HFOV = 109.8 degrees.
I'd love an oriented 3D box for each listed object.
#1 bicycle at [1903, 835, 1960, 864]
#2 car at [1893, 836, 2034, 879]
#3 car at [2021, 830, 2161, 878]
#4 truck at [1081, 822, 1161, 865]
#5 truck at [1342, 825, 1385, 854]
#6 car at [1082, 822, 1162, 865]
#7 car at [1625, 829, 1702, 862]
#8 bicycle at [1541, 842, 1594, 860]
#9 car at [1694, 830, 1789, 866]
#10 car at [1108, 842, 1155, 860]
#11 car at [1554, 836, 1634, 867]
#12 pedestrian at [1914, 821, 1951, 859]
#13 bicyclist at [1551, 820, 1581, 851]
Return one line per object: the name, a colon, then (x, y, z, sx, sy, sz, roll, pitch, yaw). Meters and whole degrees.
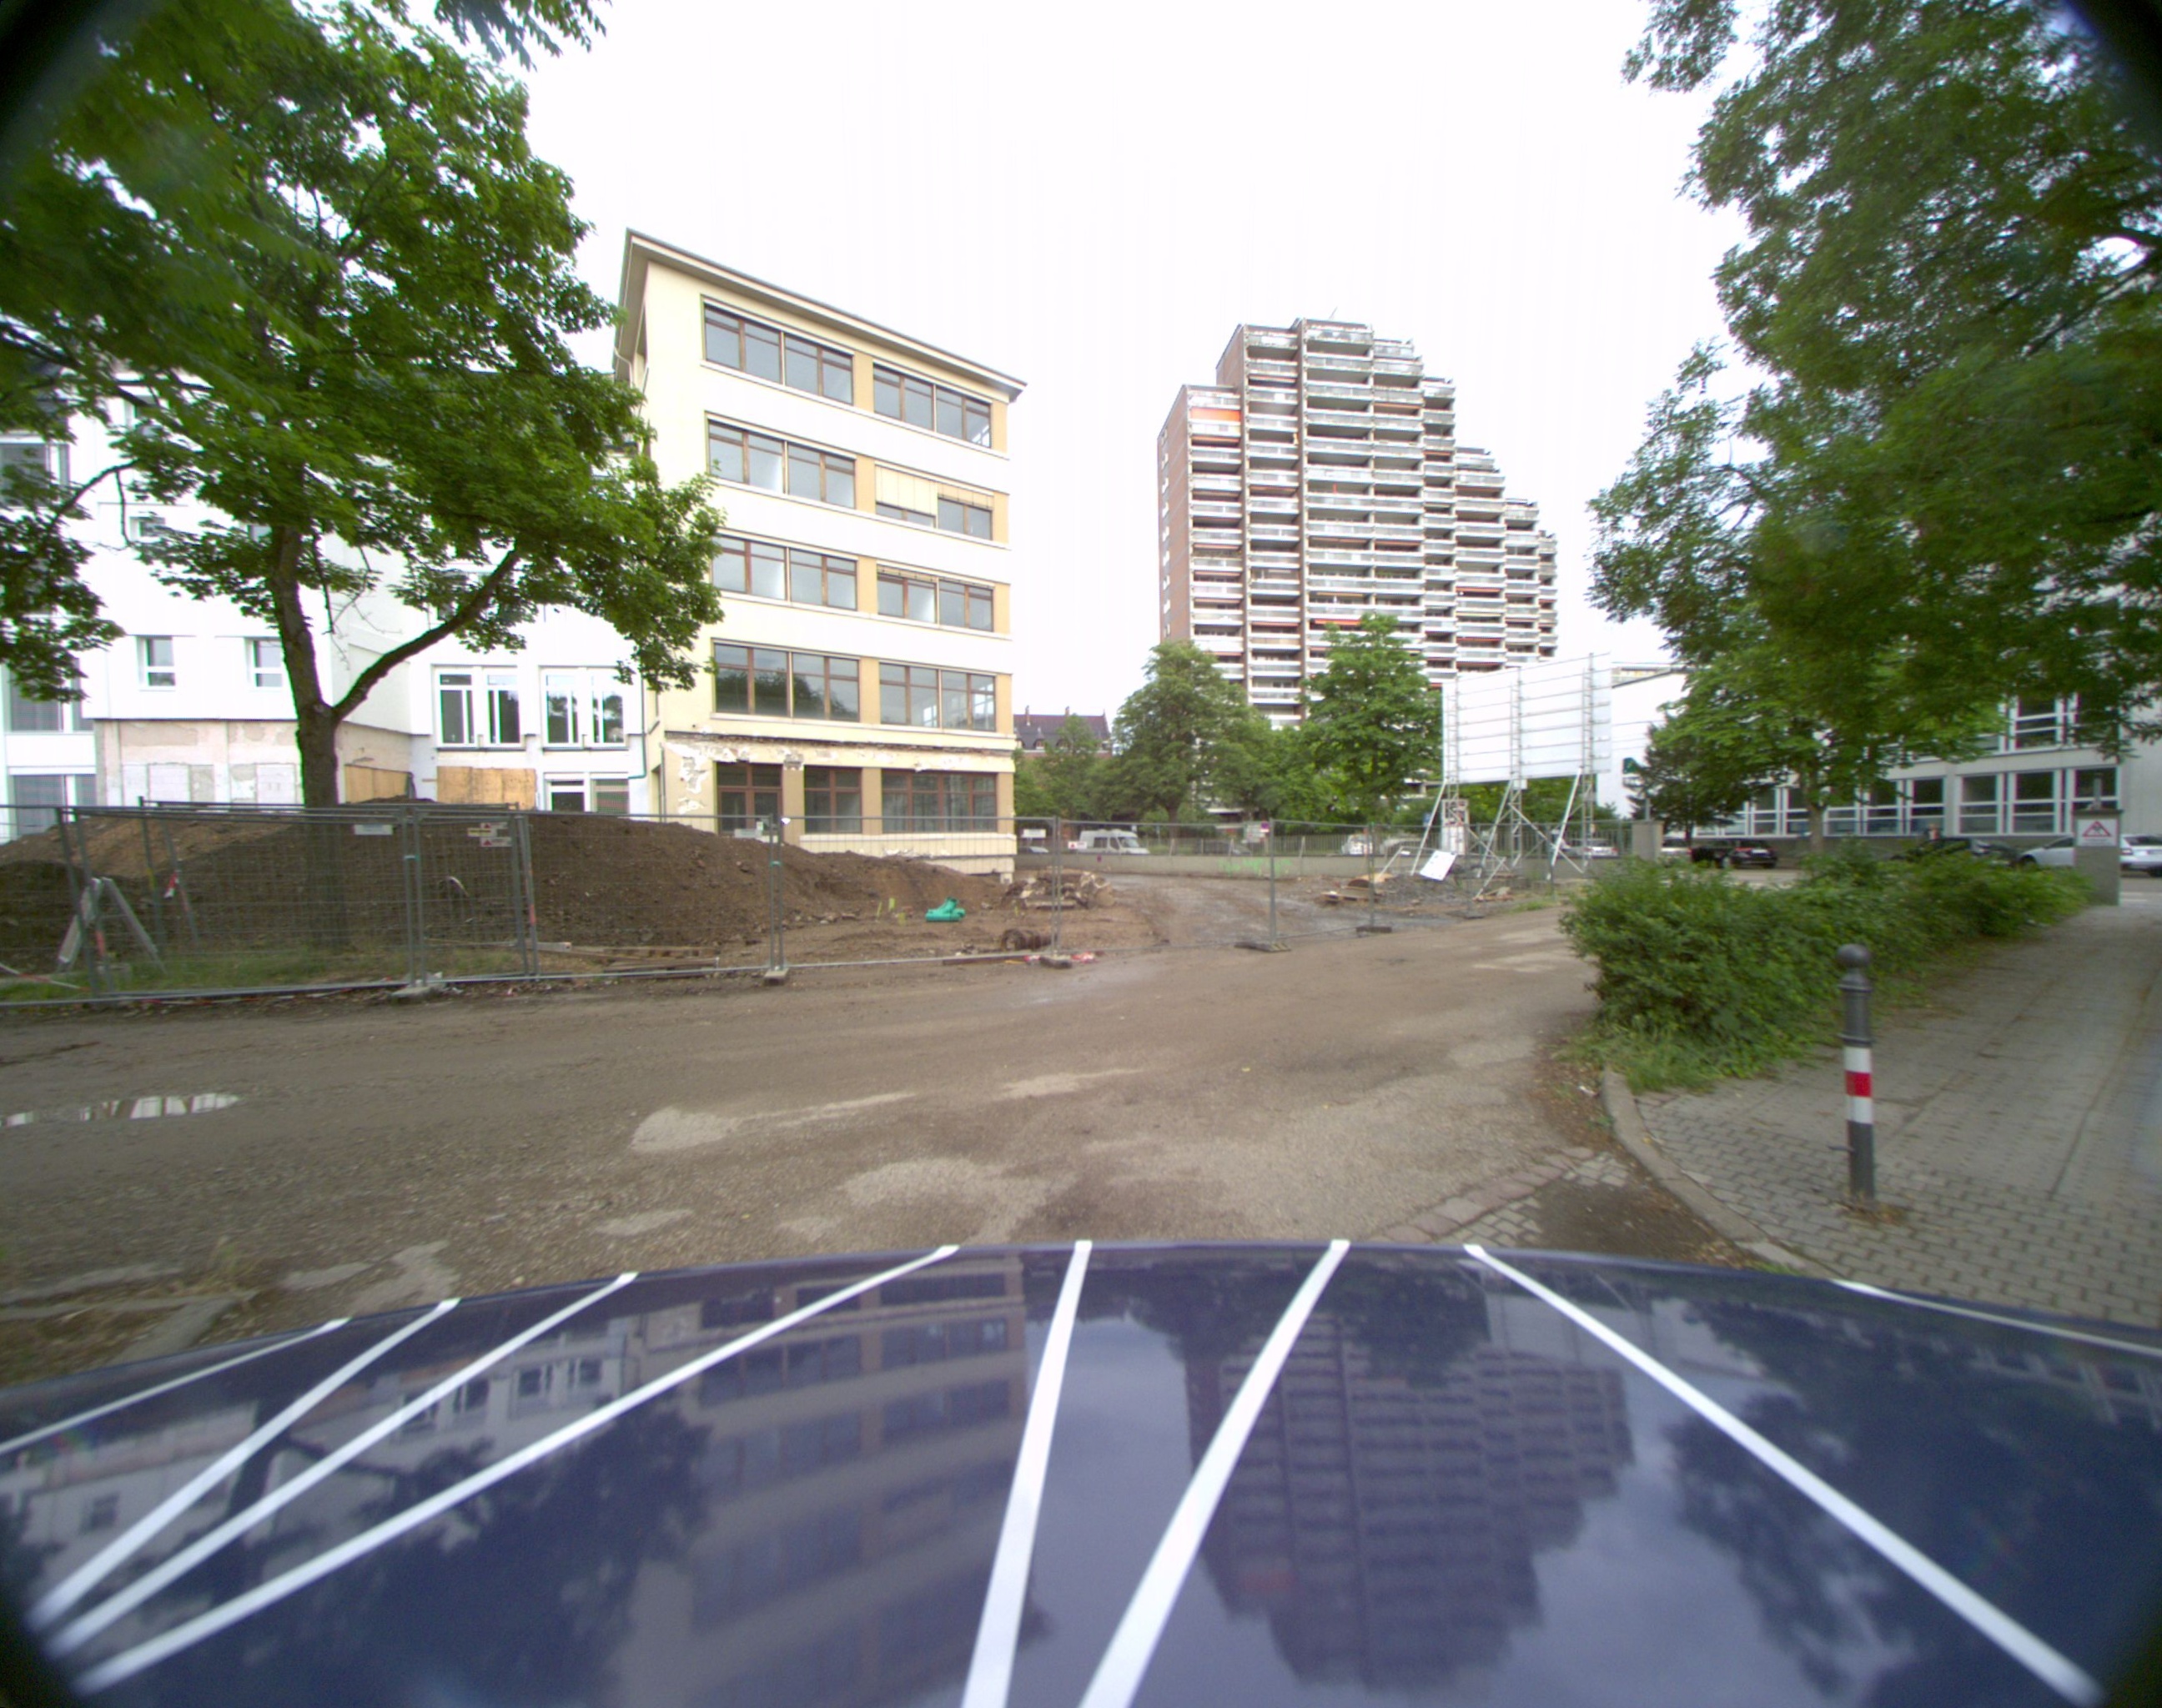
bicycle: (37.223, -0.202, 33.289, 0.406, 1.261, 1.592, -1, 2, -25)
car: (34.581, 0.094, 29.942, 1.697, 1.516, 3.707, -1, 2, 12)
car: (36.328, -0.052, 27.011, 1.696, 1.476, 4.032, -1, 2, 18)
truck: (2.457, -0.694, 48.228, 2.123, 2.588, 5.476, -3, 2, -34)
truck: (19.309, -1.036, 52.128, 1.997, 1.838, 5.067, -1, 2, 11)
car: (2.543, -0.695, 48.223, 2.123, 2.588, 5.476, -3, 2, -34)
car: (28.727, -0.453, 37.610, 1.570, 1.516, 3.653, -1, 2, 12)
bicycle: (24.012, -0.141, 37.526, 0.471, 0.864, 2.132, -1, 2, -39)
car: (30.314, -0.305, 35.037, 1.697, 1.516, 3.707, -1, 2, 12)
car: (4.076, -0.297, 62.369, 1.749, 1.421, 3.989, -1, 2, -34)
car: (27.184, -0.177, 40.461, 1.801, 1.457, 4.433, 0, 2, 9)
pedestrian: (37.478, -0.615, 33.443, 0.734, 1.603, 0.754, -2, 4, -13)
bicyclist: (23.979, -0.899, 37.592, 0.847, 1.492, 1.024, -2, 2, -39)
